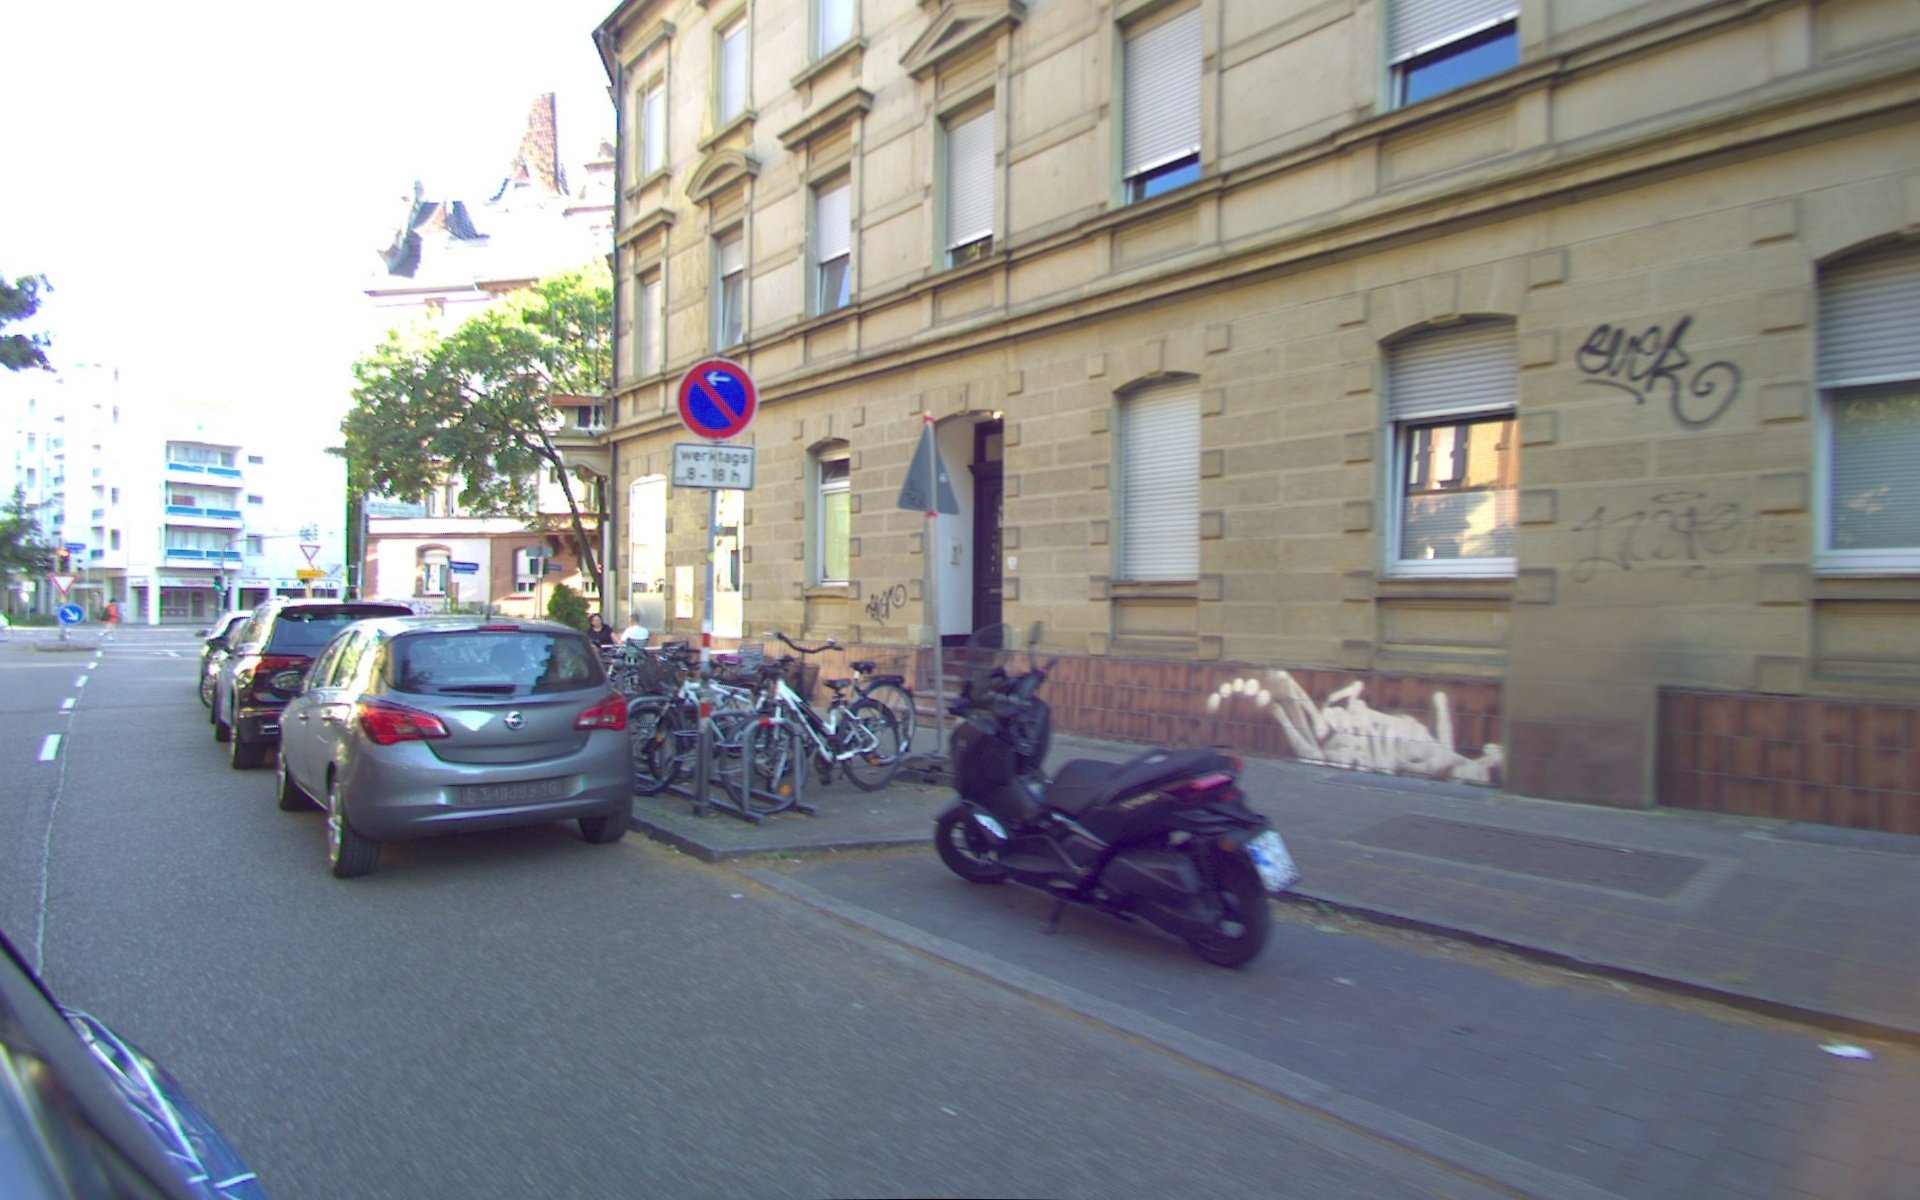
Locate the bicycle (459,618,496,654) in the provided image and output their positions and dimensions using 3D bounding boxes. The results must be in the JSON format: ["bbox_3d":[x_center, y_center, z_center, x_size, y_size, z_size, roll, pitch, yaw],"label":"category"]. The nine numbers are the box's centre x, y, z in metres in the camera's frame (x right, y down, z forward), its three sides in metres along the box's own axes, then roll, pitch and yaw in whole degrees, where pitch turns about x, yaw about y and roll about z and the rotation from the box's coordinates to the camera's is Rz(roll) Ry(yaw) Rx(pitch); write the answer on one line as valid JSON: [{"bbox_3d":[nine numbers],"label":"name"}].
[{"bbox_3d":[-17.194,1.252,36.009,0.539,1.205,2.964,1,-1,-39],"label":"bicycle"}]

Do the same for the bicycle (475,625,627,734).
[{"bbox_3d":[-4.877,0.906,12.197,0.525,1.137,1.858,0,0,24],"label":"bicycle"}]

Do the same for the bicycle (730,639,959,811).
[{"bbox_3d":[-0.861,0.916,7.996,1.845,1.137,0.529,-1,0,-43],"label":"bicycle"}]

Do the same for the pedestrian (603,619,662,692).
[{"bbox_3d":[-5.704,0.948,17.623,0.757,1.223,0.717,-1,-1,45],"label":"pedestrian"}]

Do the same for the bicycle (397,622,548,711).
[{"bbox_3d":[-6.856,0.907,14.301,1.844,1.137,0.529,-1,0,-41],"label":"bicycle"}]

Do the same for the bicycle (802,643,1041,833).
[{"bbox_3d":[-0.231,0.932,7.401,1.845,1.137,0.529,-1,0,-43],"label":"bicycle"}]

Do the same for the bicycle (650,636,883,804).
[{"bbox_3d":[-1.512,0.903,8.176,1.845,1.137,0.529,-1,0,-43],"label":"bicycle"}]

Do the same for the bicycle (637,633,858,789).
[{"bbox_3d":[-1.777,0.891,8.679,1.845,1.137,0.529,-1,0,-43],"label":"bicycle"}]

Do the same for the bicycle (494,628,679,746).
[{"bbox_3d":[-4.074,0.910,11.133,1.845,1.137,0.529,-1,0,-43],"label":"bicycle"}]

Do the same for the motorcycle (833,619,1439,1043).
[{"bbox_3d":[0.641,0.784,4.640,2.608,1.380,1.054,-1,-1,45],"label":"motorcycle"}]

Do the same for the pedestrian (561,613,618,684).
[{"bbox_3d":[-6.758,0.868,18.475,0.757,1.268,0.717,-1,-1,45],"label":"pedestrian"}]

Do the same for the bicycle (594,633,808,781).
[{"bbox_3d":[-2.298,0.909,9.153,1.845,1.137,0.529,-1,0,-43],"label":"bicycle"}]

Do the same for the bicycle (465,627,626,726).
[{"bbox_3d":[-5.308,0.945,13.033,1.844,1.137,0.529,-1,0,-41],"label":"bicycle"}]

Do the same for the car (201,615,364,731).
[{"bbox_3d":[-10.331,0.978,15.280,1.735,1.463,4.560,2,-2,-37],"label":"car"}]

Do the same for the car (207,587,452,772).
[{"bbox_3d":[-7.086,0.749,11.136,1.736,1.612,4.559,2,-2,-39],"label":"car"}]

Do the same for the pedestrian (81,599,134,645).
[{"bbox_3d":[-32.083,0.823,38.113,0.999,1.692,1.167,0,-1,18],"label":"pedestrian"}]

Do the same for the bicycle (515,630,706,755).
[{"bbox_3d":[-3.637,0.922,10.656,1.845,1.137,0.529,-1,0,-43],"label":"bicycle"}]

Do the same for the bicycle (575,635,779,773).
[{"bbox_3d":[-2.675,0.942,9.723,1.845,1.137,0.529,-1,0,-43],"label":"bicycle"}]

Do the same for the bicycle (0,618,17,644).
[{"bbox_3d":[-34.863,1.139,35.995,0.629,0.919,1.868,-1,0,17],"label":"bicycle"}]

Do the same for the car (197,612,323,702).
[{"bbox_3d":[-13.387,0.999,19.252,1.735,1.499,4.147,2,-2,-38],"label":"car"}]

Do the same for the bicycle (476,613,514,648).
[{"bbox_3d":[-16.742,1.085,36.385,0.539,1.205,2.964,1,-1,-39],"label":"bicycle"}]

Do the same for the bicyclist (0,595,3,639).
[{"bbox_3d":[-34.884,0.633,35.967,0.629,1.565,1.075,-1,0,17],"label":"bicyclist"}]

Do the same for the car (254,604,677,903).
[{"bbox_3d":[-3.743,0.830,7.256,1.736,1.512,4.066,2,-2,-41],"label":"car"}]
